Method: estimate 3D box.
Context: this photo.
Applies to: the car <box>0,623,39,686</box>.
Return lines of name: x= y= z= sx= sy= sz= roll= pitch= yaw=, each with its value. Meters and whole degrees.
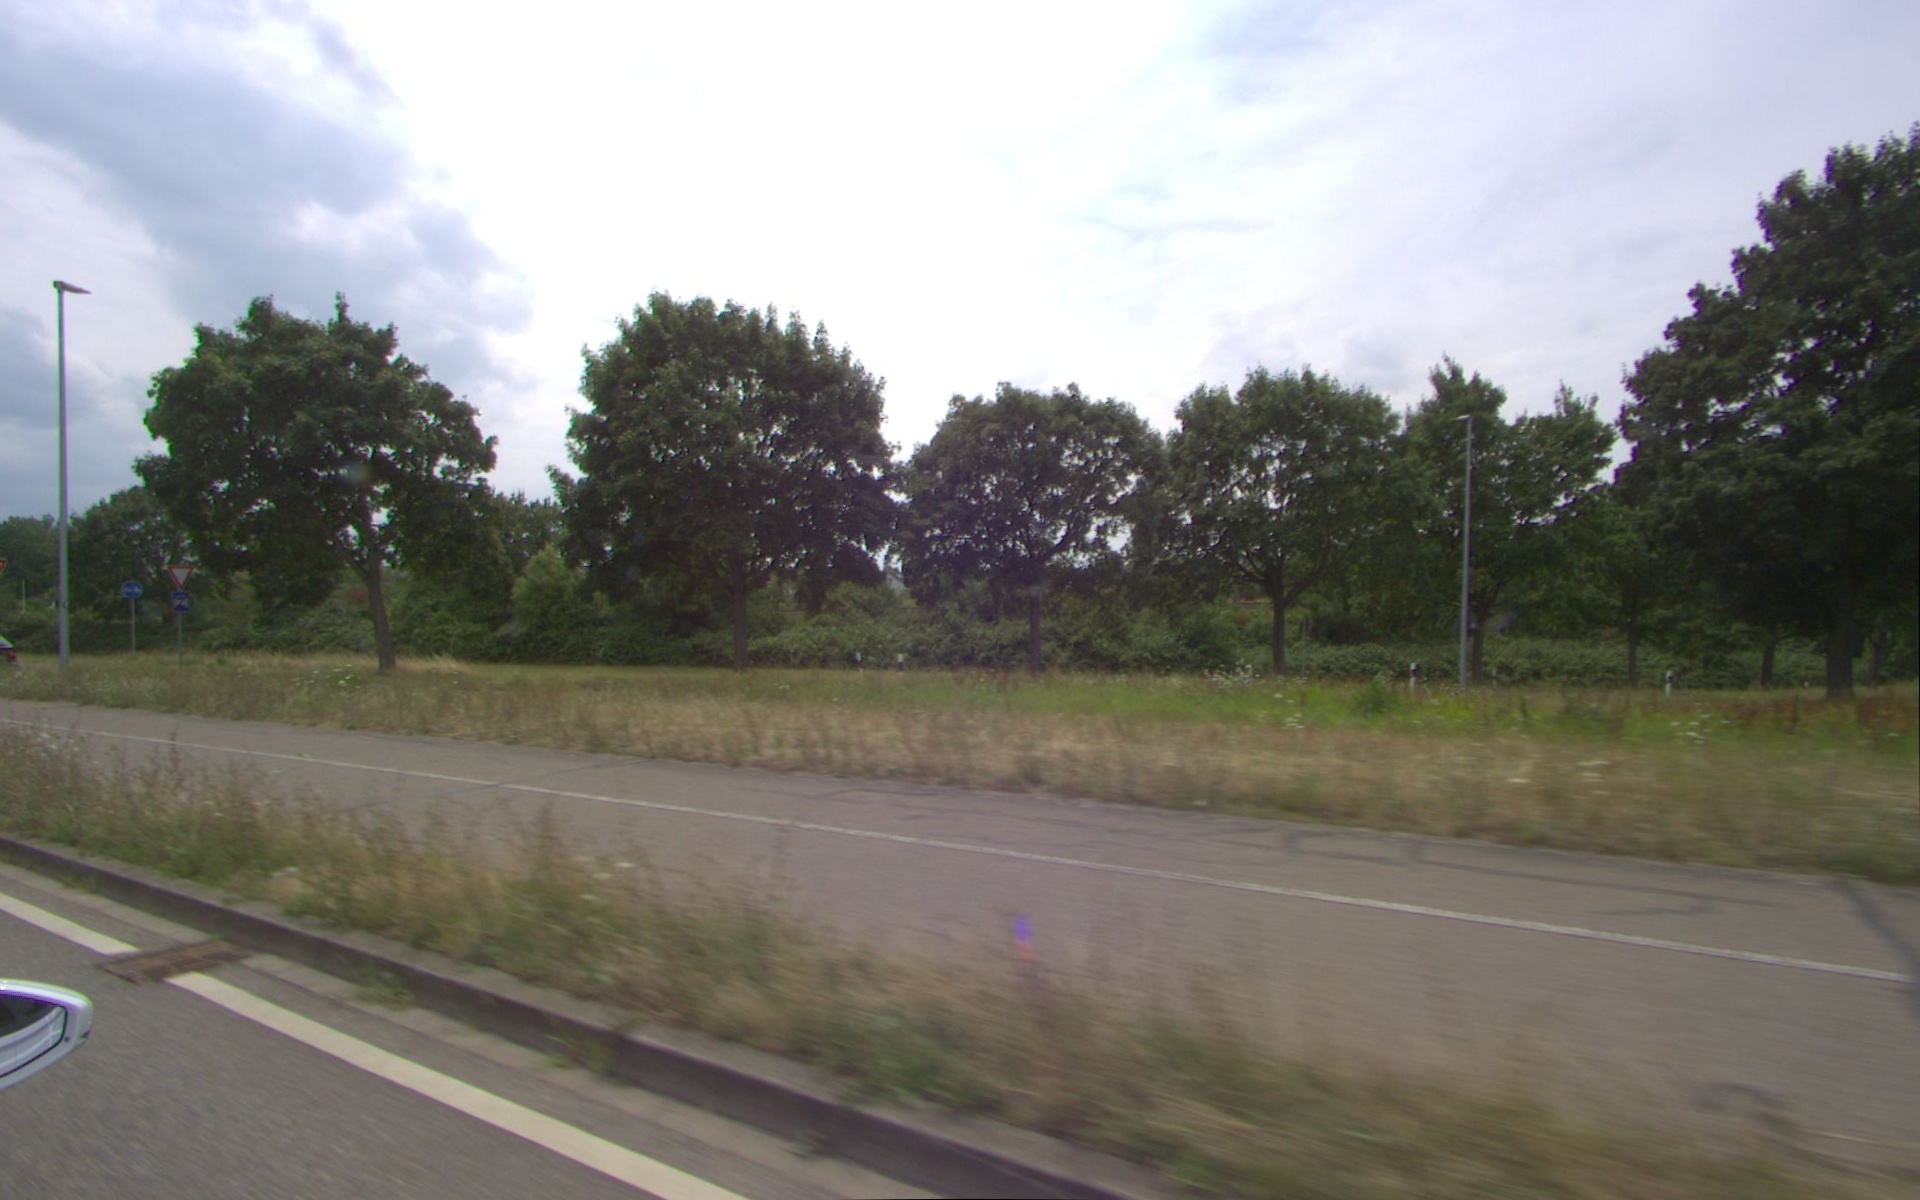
car: x=-27.868 y=1.451 z=27.443 sx=3.923 sy=1.690 sz=1.709 roll=1 pitch=-1 yaw=7
